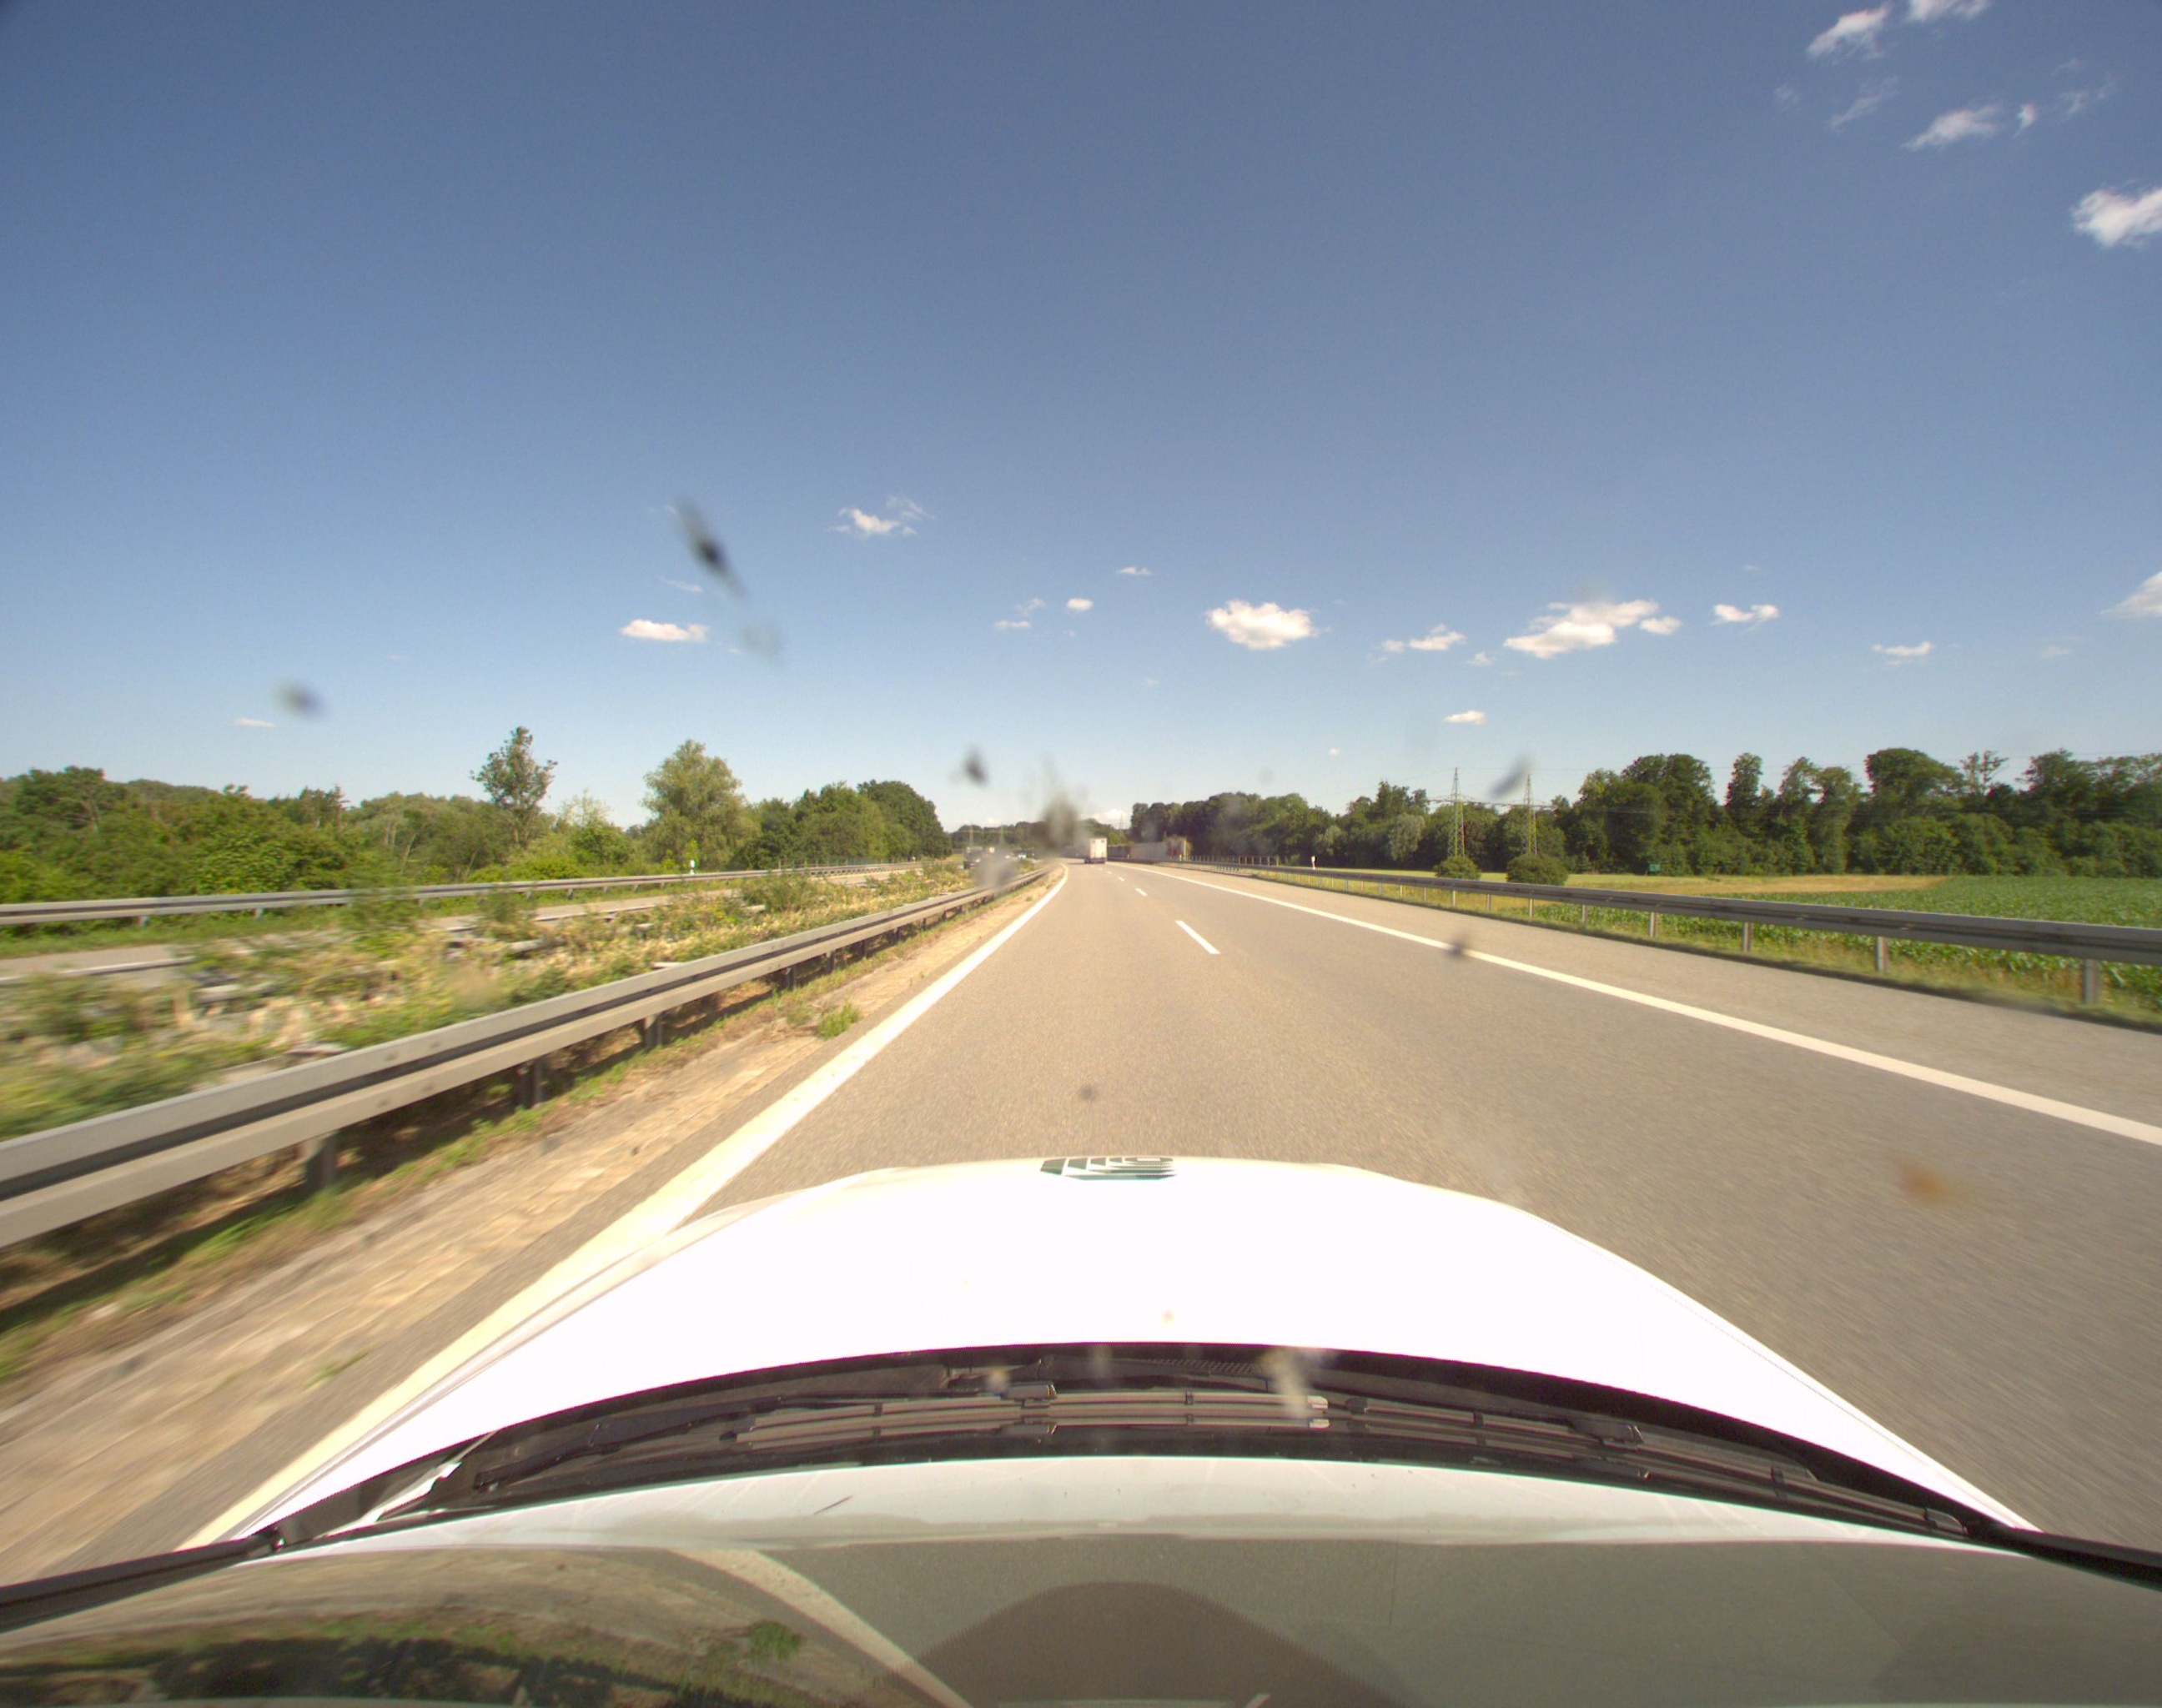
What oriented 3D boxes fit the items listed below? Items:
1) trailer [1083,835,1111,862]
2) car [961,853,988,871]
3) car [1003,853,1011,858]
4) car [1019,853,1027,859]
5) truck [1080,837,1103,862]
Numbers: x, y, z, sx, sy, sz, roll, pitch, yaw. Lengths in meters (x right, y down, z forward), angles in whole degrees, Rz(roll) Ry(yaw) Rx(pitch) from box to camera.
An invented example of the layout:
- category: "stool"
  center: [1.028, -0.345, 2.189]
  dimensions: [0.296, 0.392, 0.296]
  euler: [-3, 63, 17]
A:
- category: "trailer"
  center: [2.394, -0.784, 129.470]
  dimensions: [2.880, 4.066, 12.394]
  euler: [-1, 0, -6]
- category: "car"
  center: [-10.621, 0.756, 81.550]
  dimensions: [1.987, 1.679, 5.316]
  euler: [-2, 0, 0]
- category: "car"
  center: [-20.110, 0.423, 220.976]
  dimensions: [1.773, 1.470, 4.492]
  euler: [0, 0, -9]
- category: "car"
  center: [-14.737, 0.586, 206.320]
  dimensions: [1.819, 1.434, 4.639]
  euler: [0, 0, -7]
- category: "truck"
  center: [1.728, -0.746, 135.560]
  dimensions: [2.828, 4.012, 6.570]
  euler: [-1, 0, -7]
